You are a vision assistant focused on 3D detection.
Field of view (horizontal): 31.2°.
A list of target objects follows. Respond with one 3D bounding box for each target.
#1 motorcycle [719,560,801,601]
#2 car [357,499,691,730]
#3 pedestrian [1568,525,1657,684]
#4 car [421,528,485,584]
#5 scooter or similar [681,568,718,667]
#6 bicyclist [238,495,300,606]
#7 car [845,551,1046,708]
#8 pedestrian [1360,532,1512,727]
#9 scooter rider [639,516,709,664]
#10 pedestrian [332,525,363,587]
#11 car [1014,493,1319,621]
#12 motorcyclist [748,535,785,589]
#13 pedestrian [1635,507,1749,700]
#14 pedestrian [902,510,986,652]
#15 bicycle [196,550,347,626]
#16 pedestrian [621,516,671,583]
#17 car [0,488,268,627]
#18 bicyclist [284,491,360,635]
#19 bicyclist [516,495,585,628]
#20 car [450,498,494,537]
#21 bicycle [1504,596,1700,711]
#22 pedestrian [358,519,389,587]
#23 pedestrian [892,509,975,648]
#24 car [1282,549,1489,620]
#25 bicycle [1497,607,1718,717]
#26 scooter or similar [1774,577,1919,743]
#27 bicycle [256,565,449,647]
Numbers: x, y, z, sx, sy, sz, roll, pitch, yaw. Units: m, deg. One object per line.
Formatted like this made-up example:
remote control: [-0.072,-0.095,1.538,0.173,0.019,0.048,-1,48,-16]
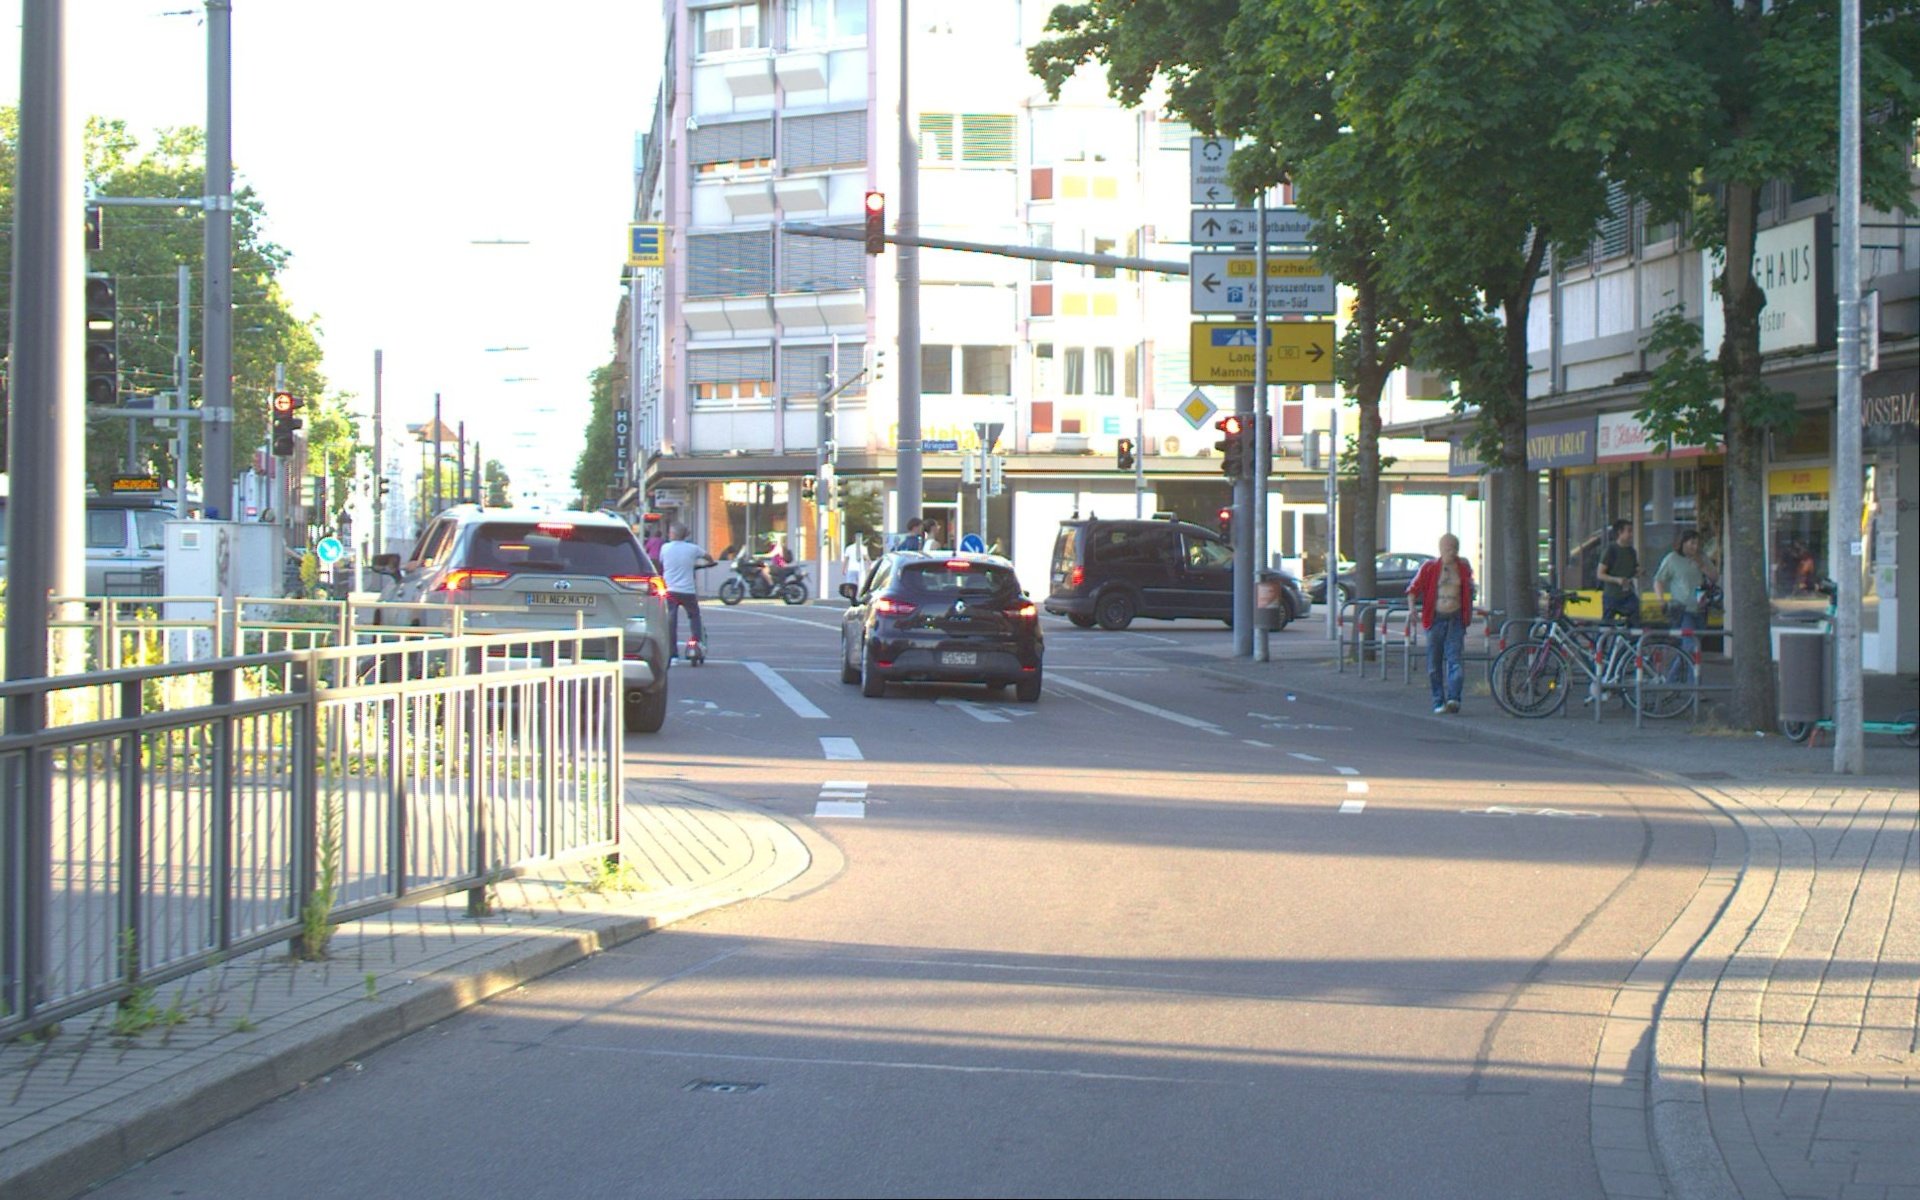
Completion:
motorcycle: [-4.648,-0.455,79.881,1.833,0.905,0.432,2,0,-10]
car: [-3.453,0.064,26.599,1.834,1.630,4.092,1,1,-17]
pedestrian: [7.417,0.048,39.106,0.746,1.772,0.800,2,0,-5]
car: [-16.710,-1.452,113.460,1.811,1.740,3.715,2,0,-5]
scooter or similar: [-2.949,0.190,38.973,0.279,1.087,1.257,2,0,0]
bicyclist: [-9.600,-0.691,47.728,0.704,1.506,0.550,-2,1,-23]
car: [-0.203,0.250,34.256,1.764,1.435,4.001,0,1,-4]
pedestrian: [4.237,0.255,30.624,0.823,1.679,1.048,2,0,-29]
scooter rider: [-3.234,-0.116,38.953,0.662,1.641,0.661,2,0,2]
pedestrian: [-16.742,-1.201,93.934,0.701,1.658,0.808,2,0,-5]
car: [3.365,-0.706,56.264,4.558,2.030,2.001,0,1,-18]
motorcyclist: [-4.509,-0.880,79.886,0.703,1.216,0.789,2,0,-12]
pedestrian: [6.910,0.026,32.499,0.746,1.772,0.973,2,0,-5]
pedestrian: [-0.215,-0.253,45.430,0.994,1.824,0.729,2,0,-5]
bicycle: [-9.567,-0.166,47.810,2.035,1.024,0.417,1,1,-11]
pedestrian: [-8.247,-1.328,90.390,0.852,1.720,0.932,2,0,43]
car: [-12.852,-0.645,51.289,4.682,2.007,2.001,0,1,-21]
bicyclist: [-9.048,-0.521,48.756,0.860,2.007,0.647,2,0,-25]
bicyclist: [-5.912,-0.554,49.650,0.860,1.871,0.647,2,0,-13]
car: [-25.428,-4.293,179.230,1.993,1.894,4.001,2,0,-5]
bicycle: [5.766,0.475,30.914,1.657,0.971,0.386,2,0,1]
pedestrian: [-15.901,-1.266,93.235,0.701,1.816,0.808,2,0,-5]
pedestrian: [-0.362,-0.289,46.225,0.994,1.824,0.729,2,0,-5]
car: [10.296,-0.383,83.361,4.550,1.615,1.998,1,0,-9]
bicycle: [5.629,0.535,29.944,1.818,0.888,0.415,2,0,1]
scooter or similar: [6.678,0.438,25.535,1.220,1.213,0.294,0,-1,40]
bicycle: [-8.631,0.091,48.902,2.639,1.096,0.435,2,0,-26]
